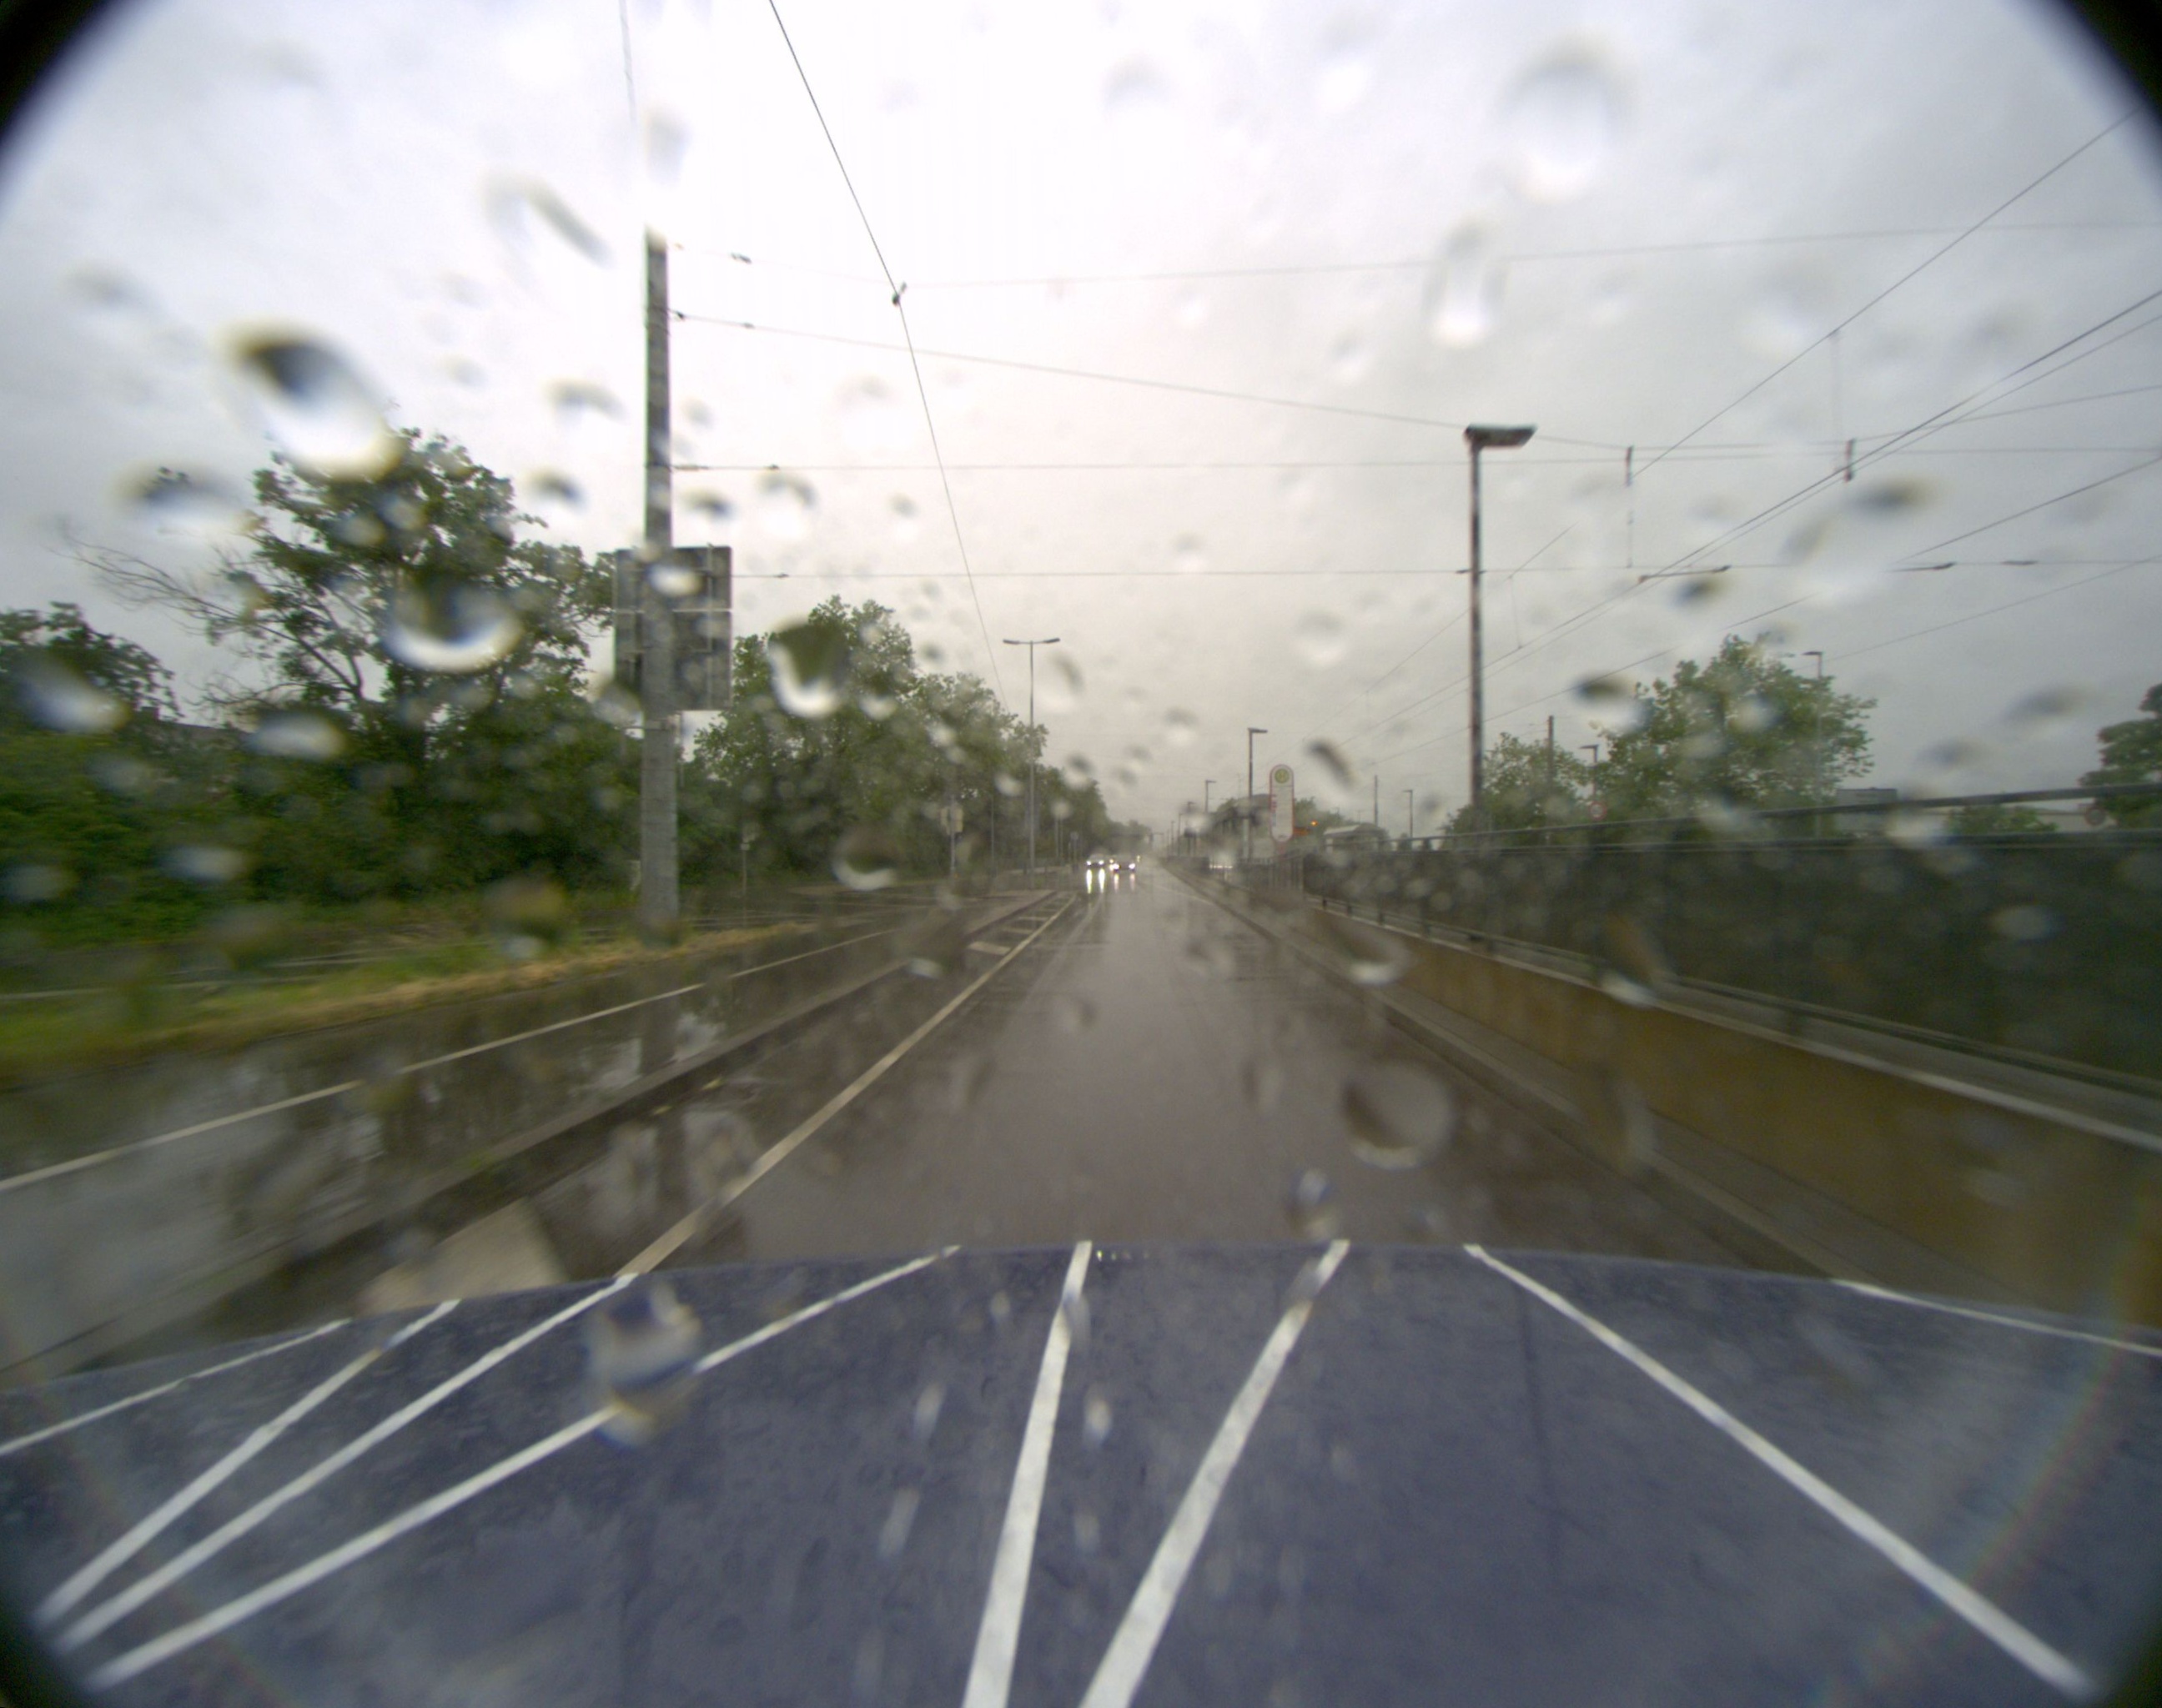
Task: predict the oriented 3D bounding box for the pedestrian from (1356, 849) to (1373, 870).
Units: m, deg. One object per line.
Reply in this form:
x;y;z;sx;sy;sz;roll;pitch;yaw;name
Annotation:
18.521;0.355;49.655;0.833;1.308;0.858;-2;0;5;pedestrian

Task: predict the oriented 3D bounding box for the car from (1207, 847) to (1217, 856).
32.959;-0.638;191.290;1.998;2.002;4.755;-1;0;5;car

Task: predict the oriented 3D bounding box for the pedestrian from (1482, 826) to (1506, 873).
35.241;-0.374;64.862;1.172;4.006;1.518;-1;1;-6;pedestrian

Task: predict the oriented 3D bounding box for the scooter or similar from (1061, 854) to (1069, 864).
-2.081;0.610;100.695;0.760;1.285;1.647;-1;1;8;scooter or similar

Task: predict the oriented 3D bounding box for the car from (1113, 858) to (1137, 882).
4.037;1.438;69.168;1.998;2.002;4.002;-1;0;6;car

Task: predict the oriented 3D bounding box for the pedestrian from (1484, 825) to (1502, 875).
33.762;-0.322;62.222;1.169;4.006;1.522;0;1;33;pedestrian

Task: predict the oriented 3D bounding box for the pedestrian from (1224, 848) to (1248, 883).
5.936;0.435;29.119;0.815;1.332;0.660;-1;1;5;pedestrian

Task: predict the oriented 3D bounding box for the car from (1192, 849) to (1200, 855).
34.651;-0.553;228.753;1.998;1.761;4.259;-1;0;5;car
